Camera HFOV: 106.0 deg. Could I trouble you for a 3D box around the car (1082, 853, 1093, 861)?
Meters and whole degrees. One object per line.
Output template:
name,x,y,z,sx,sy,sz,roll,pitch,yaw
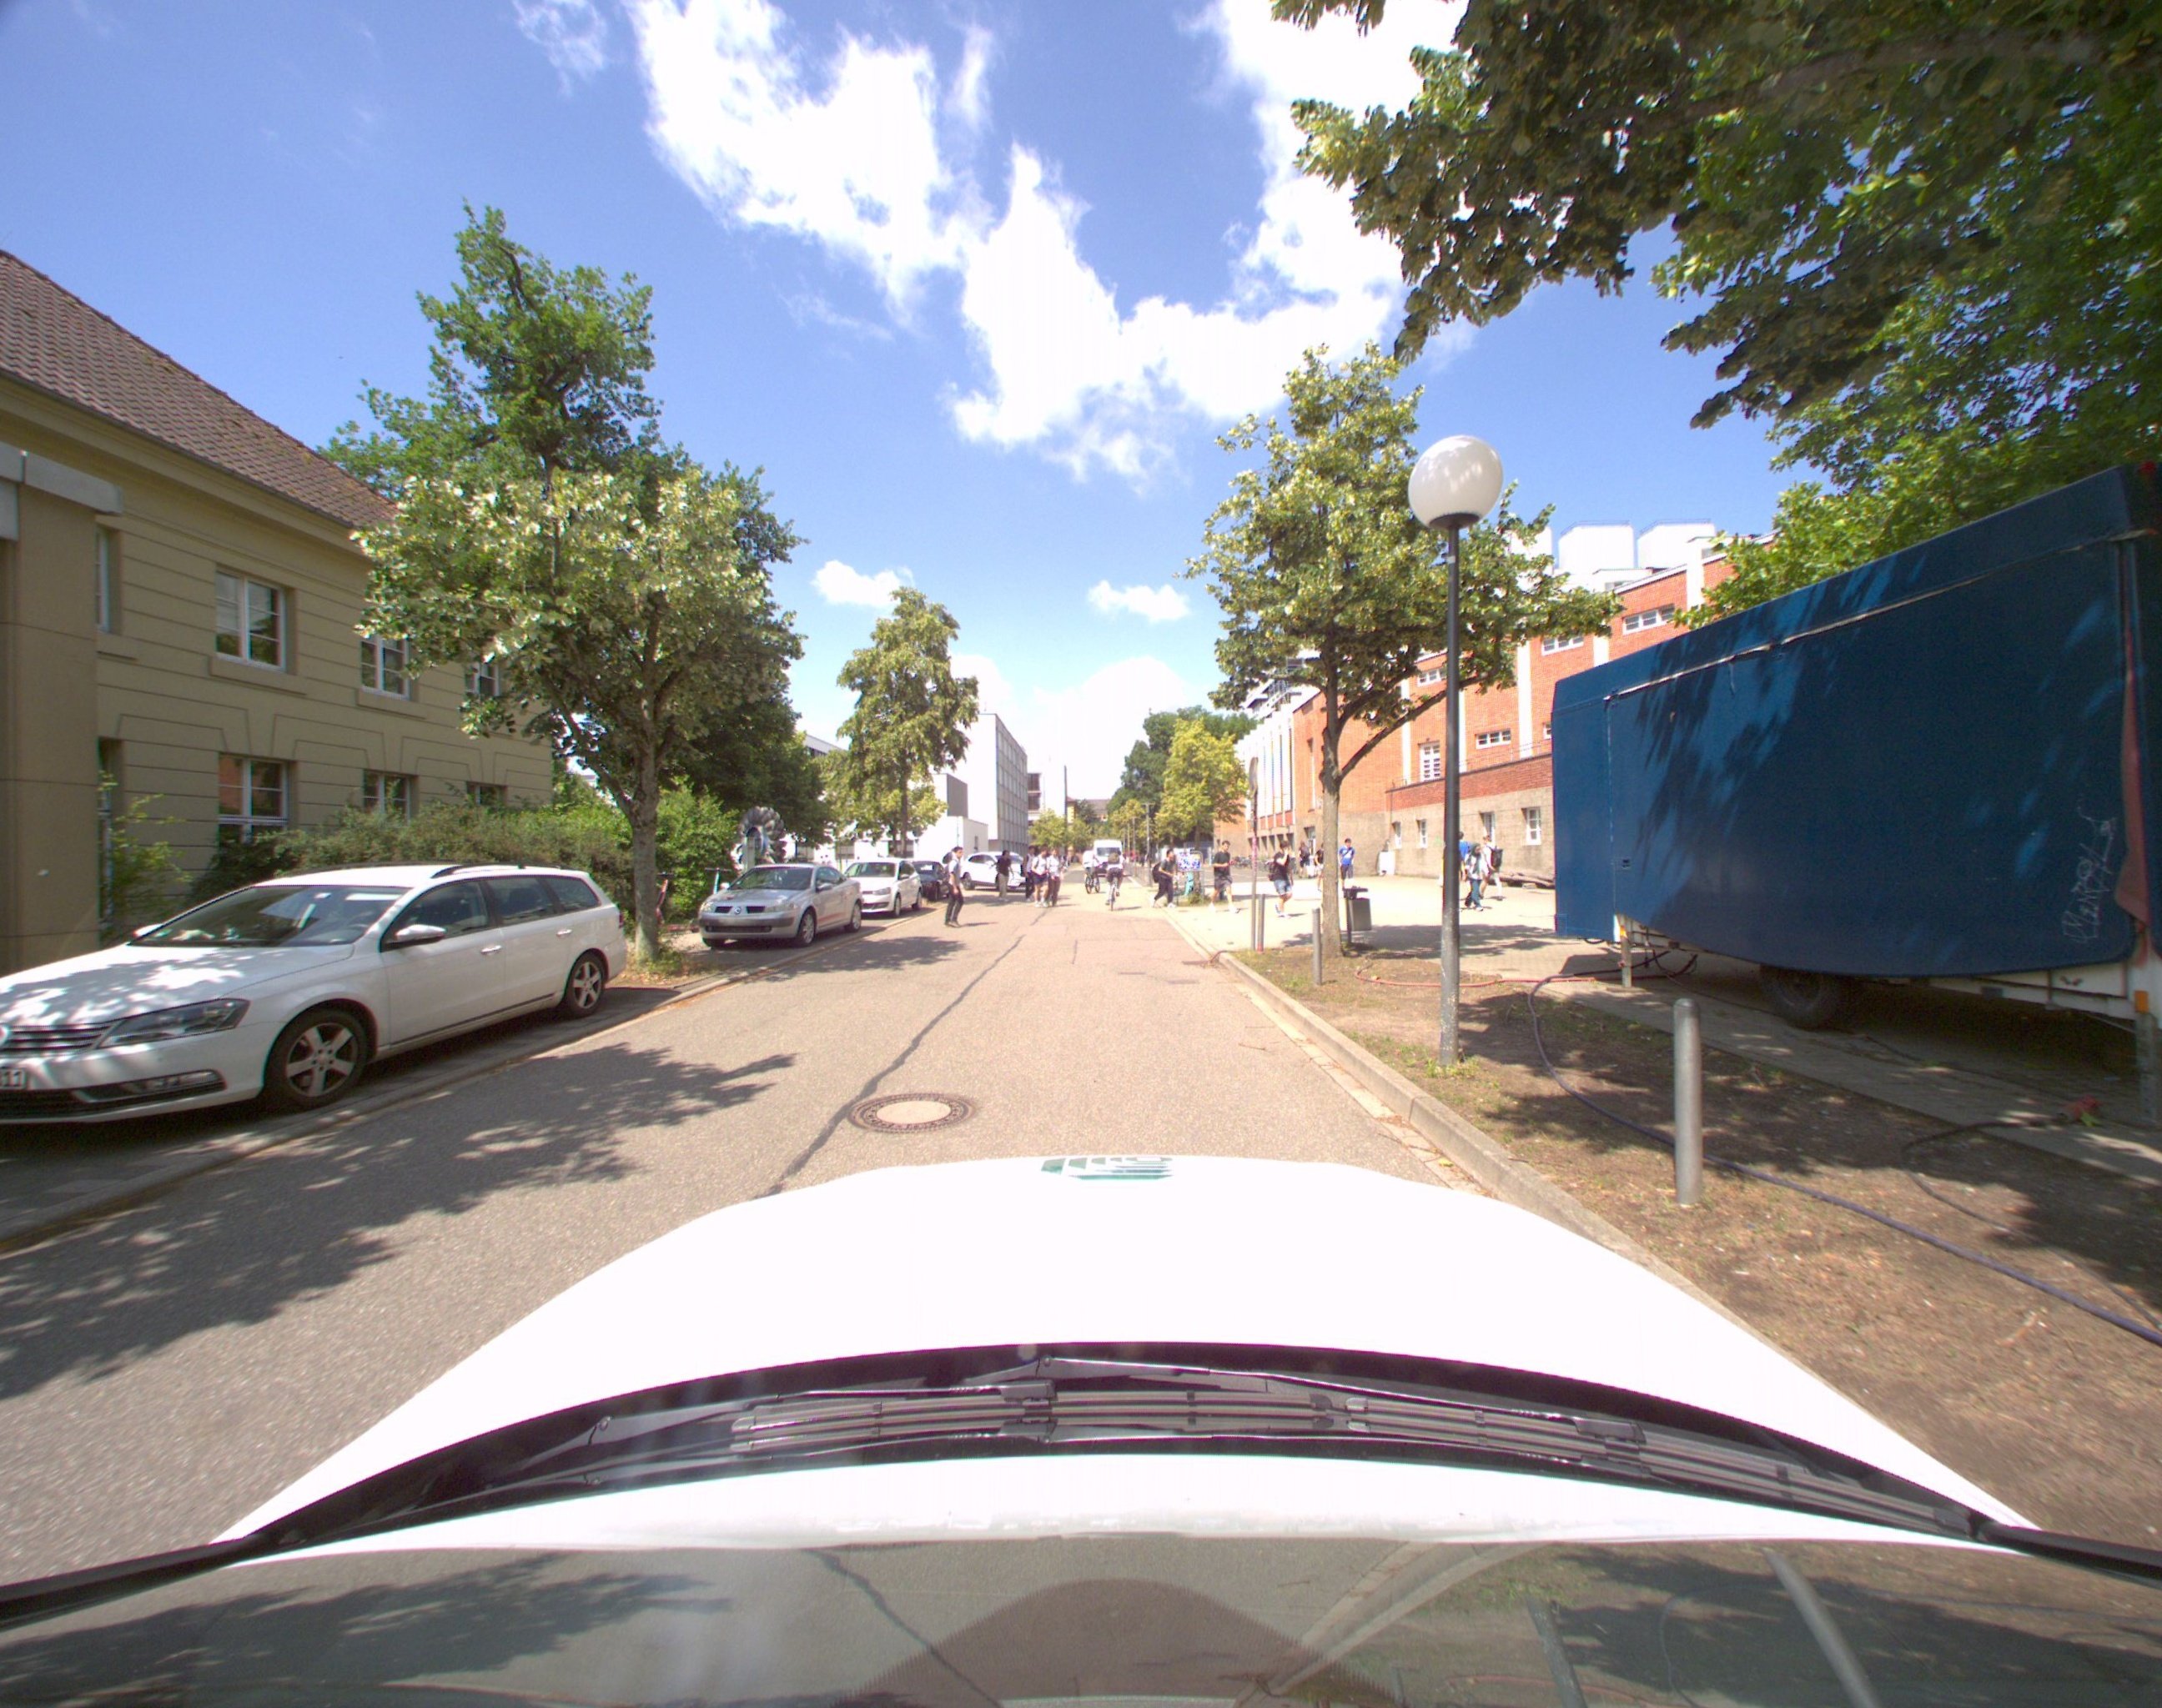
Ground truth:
car,1.300,0.547,158.475,1.787,1.530,4.006,-2,0,5

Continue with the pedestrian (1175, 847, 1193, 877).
pedestrian,6.076,0.449,48.107,0.850,1.732,1.160,-2,0,0

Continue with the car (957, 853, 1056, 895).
car,-3.144,0.786,33.744,1.933,1.619,4.469,2,-1,-38

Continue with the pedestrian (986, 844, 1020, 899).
pedestrian,-2.583,0.558,26.997,0.794,1.772,0.859,0,1,24

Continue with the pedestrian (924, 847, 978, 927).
pedestrian,-2.823,0.708,17.787,1.103,1.716,0.709,0,0,-6

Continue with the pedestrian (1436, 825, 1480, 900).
pedestrian,9.939,0.218,21.488,0.698,1.891,0.996,-3,1,6

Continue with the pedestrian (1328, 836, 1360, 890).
pedestrian,8.925,0.297,27.616,0.707,1.787,0.751,-3,0,-7

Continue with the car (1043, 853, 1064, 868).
car,-3.088,0.737,92.504,1.787,1.530,4.006,-2,0,5

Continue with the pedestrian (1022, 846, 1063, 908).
pedestrian,-1.129,0.650,23.941,0.971,1.739,0.705,2,2,39

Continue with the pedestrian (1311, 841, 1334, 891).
pedestrian,8.121,0.391,27.412,0.501,1.630,0.570,-3,0,-7

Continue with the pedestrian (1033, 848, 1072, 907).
pedestrian,-0.857,0.701,24.570,0.897,1.739,0.683,-1,0,39

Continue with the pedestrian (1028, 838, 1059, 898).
pedestrian,-1.273,0.448,27.527,0.819,1.980,0.695,0,1,24

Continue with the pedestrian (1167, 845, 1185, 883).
pedestrian,4.323,0.452,37.129,0.700,1.694,0.962,-2,2,2

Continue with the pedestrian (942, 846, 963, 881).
pedestrian,-6.709,0.515,42.607,0.979,1.785,0.668,-1,-1,-2

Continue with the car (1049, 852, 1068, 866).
car,-2.749,0.607,99.917,1.787,1.530,4.006,-2,0,5

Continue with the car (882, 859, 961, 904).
car,-5.220,0.865,27.112,1.638,1.300,3.930,-2,0,2

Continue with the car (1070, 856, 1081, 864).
car,-1.022,1.156,158.914,1.787,1.530,4.006,-2,0,5

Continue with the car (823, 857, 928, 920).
car,-5.123,0.809,20.792,1.656,1.412,3.808,0,0,1

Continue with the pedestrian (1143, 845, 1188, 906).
pedestrian,2.463,0.616,23.729,0.707,1.719,0.982,-3,0,-40

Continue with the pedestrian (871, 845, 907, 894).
pedestrian,-7.833,0.641,33.192,1.022,1.904,1.166,3,-3,-34

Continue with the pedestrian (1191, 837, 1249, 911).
pedestrian,3.625,0.522,21.253,0.859,1.860,1.103,-1,-2,-39

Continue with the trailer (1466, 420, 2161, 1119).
trailer,6.023,-0.423,6.681,2.683,3.051,6.257,-3,0,0

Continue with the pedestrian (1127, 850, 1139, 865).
pedestrian,7.708,0.525,121.591,1.495,1.996,1.646,-4,1,-1

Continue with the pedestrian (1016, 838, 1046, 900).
pedestrian,-1.643,0.489,26.659,0.620,1.980,0.821,-2,-2,-30

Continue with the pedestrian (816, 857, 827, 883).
pedestrian,-17.545,1.091,55.054,0.549,1.764,0.586,-1,-1,2

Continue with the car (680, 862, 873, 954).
car,-5.242,0.857,14.683,1.718,1.343,4.168,0,0,3

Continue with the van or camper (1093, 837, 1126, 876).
van or camper,1.991,0.184,55.654,1.984,2.446,4.574,-2,-1,4

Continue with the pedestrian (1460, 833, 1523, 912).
pedestrian,9.319,0.398,18.527,0.872,1.637,0.949,-6,3,2

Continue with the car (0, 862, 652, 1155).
car,-5.465,0.808,6.437,1.720,1.456,4.582,0,0,0

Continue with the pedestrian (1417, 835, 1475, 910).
pedestrian,8.353,0.403,18.673,0.872,1.638,0.949,-3,1,1

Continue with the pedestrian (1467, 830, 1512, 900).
pedestrian,10.817,0.277,21.595,0.697,1.803,0.996,-3,0,8

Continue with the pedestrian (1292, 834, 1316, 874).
pedestrian,10.586,0.017,38.739,0.787,1.860,1.116,-2,0,0
